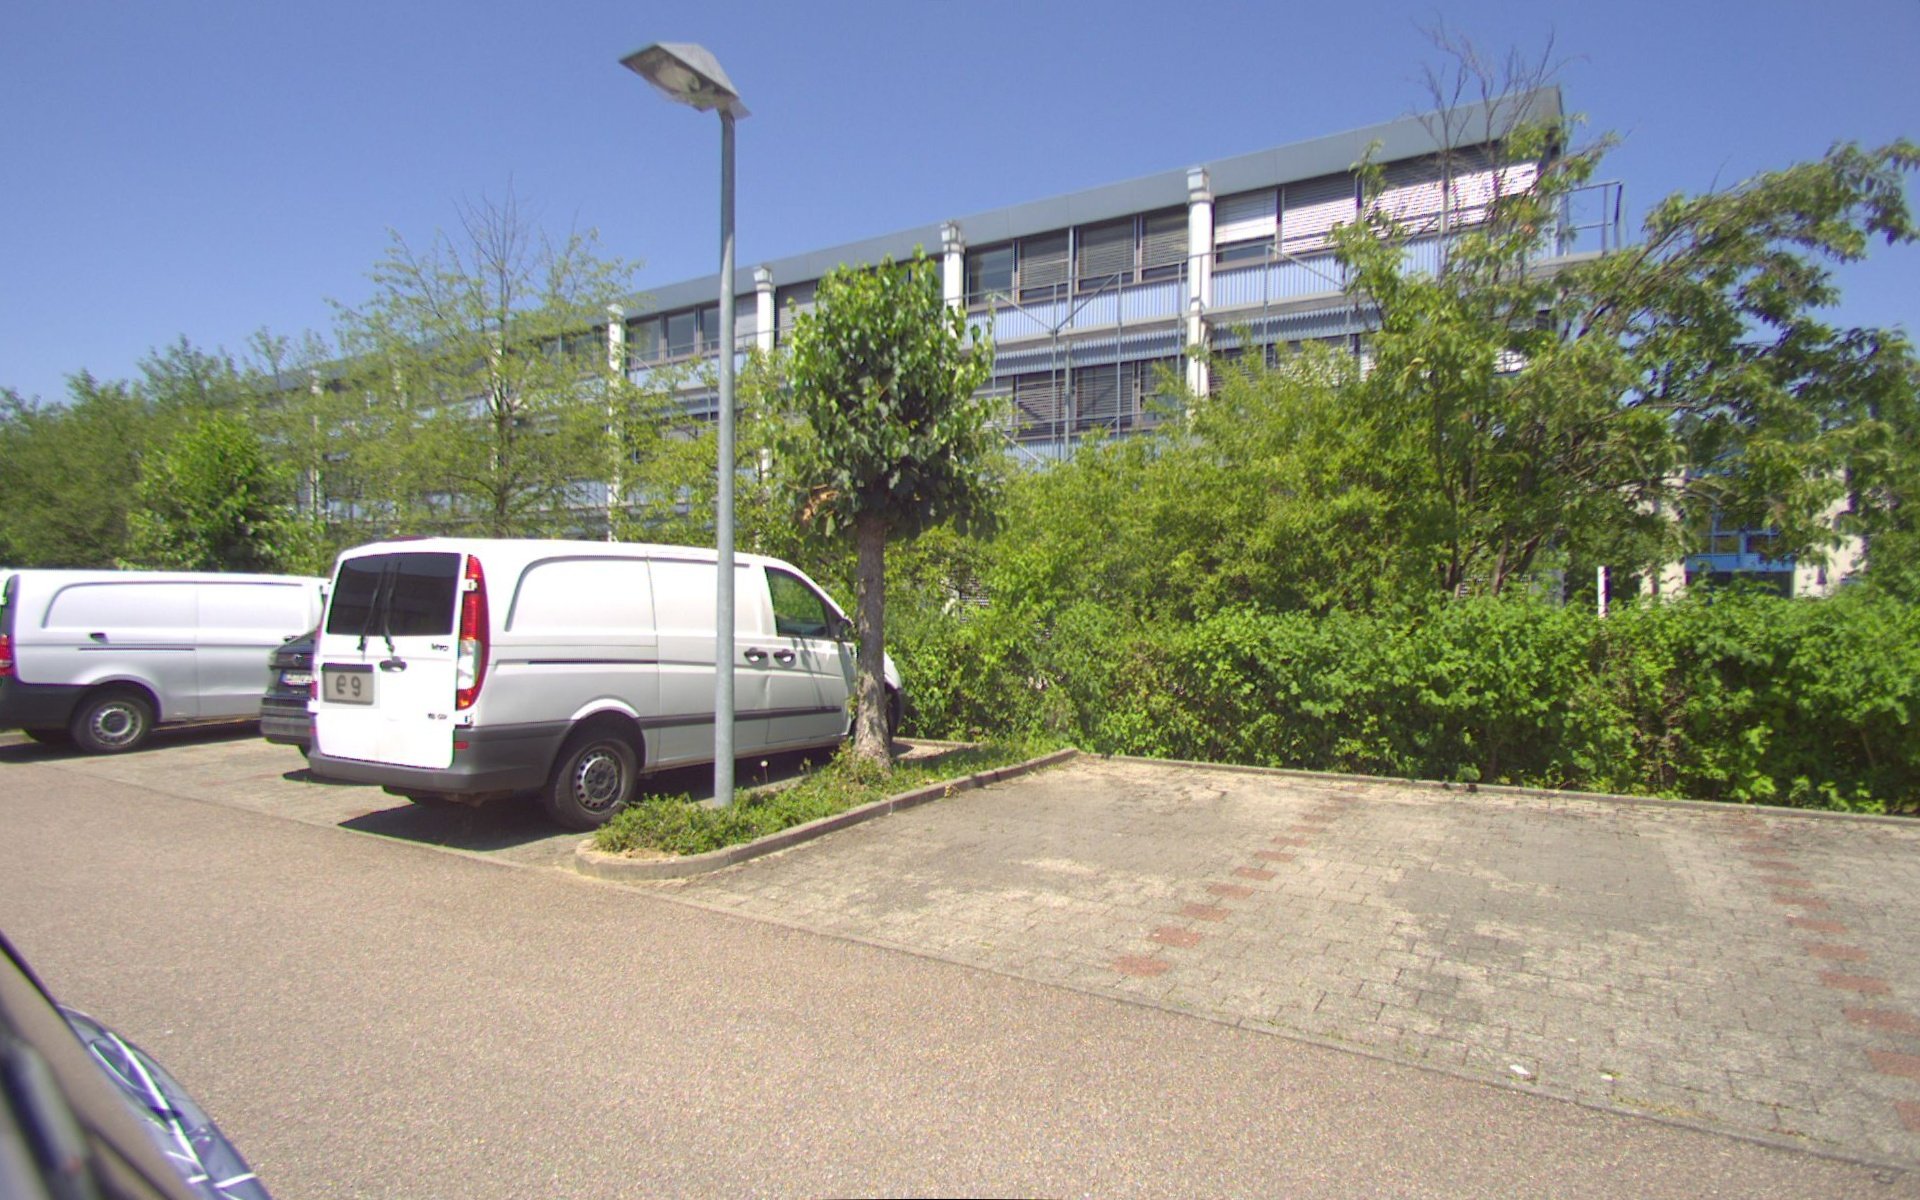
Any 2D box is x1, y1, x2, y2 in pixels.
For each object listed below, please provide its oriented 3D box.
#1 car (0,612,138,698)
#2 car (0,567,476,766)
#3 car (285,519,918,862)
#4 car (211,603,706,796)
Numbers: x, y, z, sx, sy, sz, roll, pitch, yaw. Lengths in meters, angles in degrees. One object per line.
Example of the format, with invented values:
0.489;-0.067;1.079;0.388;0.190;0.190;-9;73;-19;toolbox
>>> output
-17.574;0.989;18.192;1.735;1.495;4.037;-1;-1;34;car
-8.521;0.640;11.885;1.851;1.870;4.879;-1;-1;33;car
-2.379;0.520;8.024;1.862;1.874;4.627;-1;-1;31;car
-4.657;0.792;10.055;1.733;1.495;4.153;-1;-1;31;car
